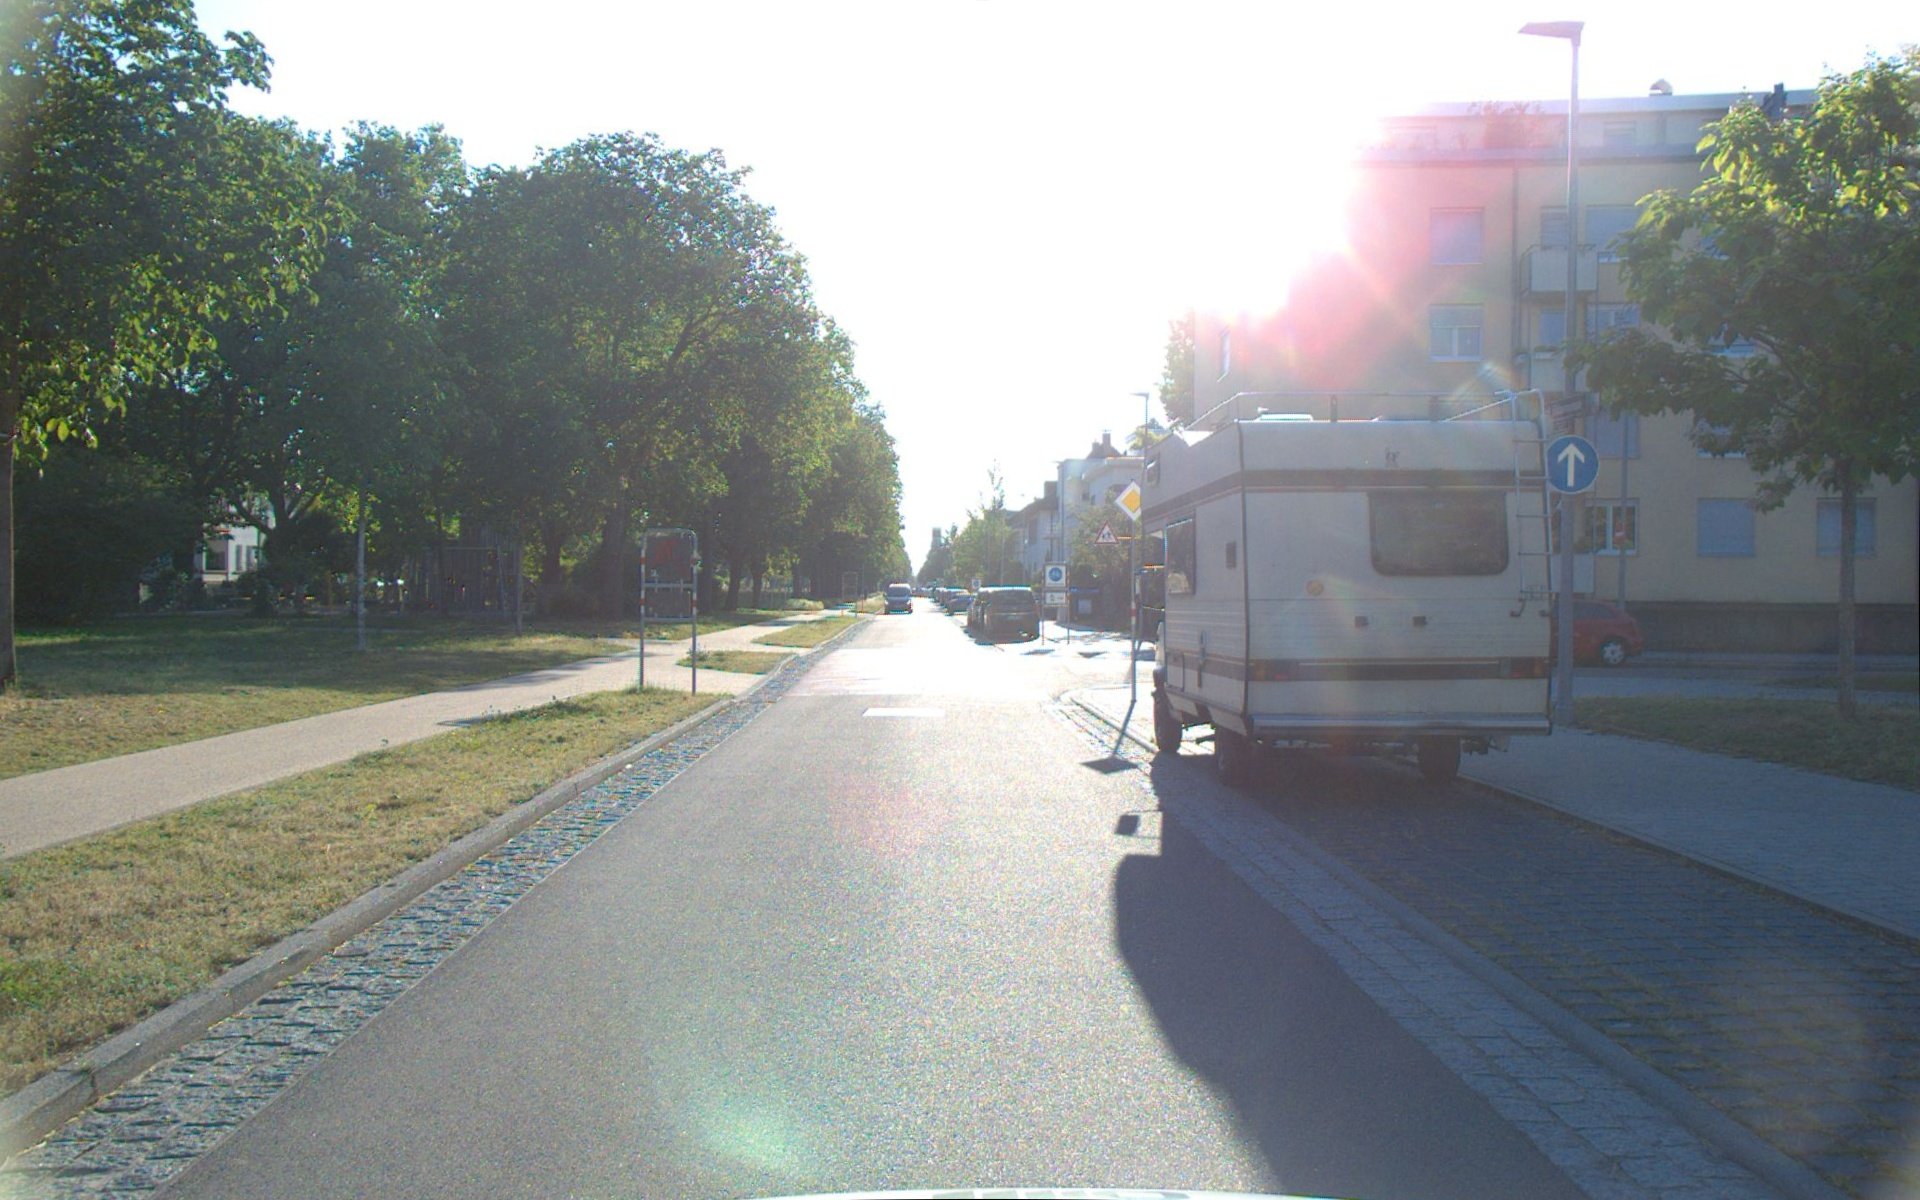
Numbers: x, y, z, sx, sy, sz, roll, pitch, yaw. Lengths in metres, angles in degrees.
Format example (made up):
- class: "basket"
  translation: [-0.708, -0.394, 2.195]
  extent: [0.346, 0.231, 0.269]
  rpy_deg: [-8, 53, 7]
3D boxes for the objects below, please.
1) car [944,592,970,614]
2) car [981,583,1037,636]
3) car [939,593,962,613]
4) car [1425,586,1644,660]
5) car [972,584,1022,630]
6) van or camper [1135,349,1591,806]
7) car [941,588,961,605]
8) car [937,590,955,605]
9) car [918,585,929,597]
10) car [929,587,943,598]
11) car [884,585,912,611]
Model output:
- class: "car"
  translation: [-0.236, 0.191, 108.562]
  extent: [1.593, 1.434, 4.248]
  rpy_deg: [0, 0, -2]
- class: "car"
  translation: [1.594, 0.299, 55.014]
  extent: [1.593, 1.698, 4.248]
  rpy_deg: [0, 0, -2]
- class: "car"
  translation: [-0.701, 0.191, 119.616]
  extent: [1.593, 1.434, 4.248]
  rpy_deg: [0, 0, -2]
- class: "car"
  translation: [12.400, 0.487, 35.905]
  extent: [4.107, 1.557, 2.001]
  rpy_deg: [0, 0, 2]
- class: "car"
  translation: [1.469, 0.269, 65.720]
  extent: [1.952, 1.747, 4.001]
  rpy_deg: [0, 0, 1]
- class: "van or camper"
  translation: [2.914, -0.104, 13.558]
  extent: [2.189, 2.955, 5.670]
  rpy_deg: [0, -1, -2]
- class: "car"
  translation: [-0.800, -0.262, 140.087]
  extent: [1.593, 1.434, 4.248]
  rpy_deg: [0, 0, -2]
- class: "car"
  translation: [-1.332, -0.222, 156.115]
  extent: [1.593, 1.434, 4.248]
  rpy_deg: [0, 0, -2]
- class: "car"
  translation: [-5.421, -1.317, 245.472]
  extent: [1.593, 1.698, 4.248]
  rpy_deg: [0, 0, -2]
- class: "car"
  translation: [-3.022, -0.916, 208.467]
  extent: [1.593, 1.434, 4.248]
  rpy_deg: [0, 0, -2]
- class: "car"
  translation: [-3.974, -0.131, 106.903]
  extent: [1.789, 1.698, 4.248]
  rpy_deg: [0, 0, -2]
